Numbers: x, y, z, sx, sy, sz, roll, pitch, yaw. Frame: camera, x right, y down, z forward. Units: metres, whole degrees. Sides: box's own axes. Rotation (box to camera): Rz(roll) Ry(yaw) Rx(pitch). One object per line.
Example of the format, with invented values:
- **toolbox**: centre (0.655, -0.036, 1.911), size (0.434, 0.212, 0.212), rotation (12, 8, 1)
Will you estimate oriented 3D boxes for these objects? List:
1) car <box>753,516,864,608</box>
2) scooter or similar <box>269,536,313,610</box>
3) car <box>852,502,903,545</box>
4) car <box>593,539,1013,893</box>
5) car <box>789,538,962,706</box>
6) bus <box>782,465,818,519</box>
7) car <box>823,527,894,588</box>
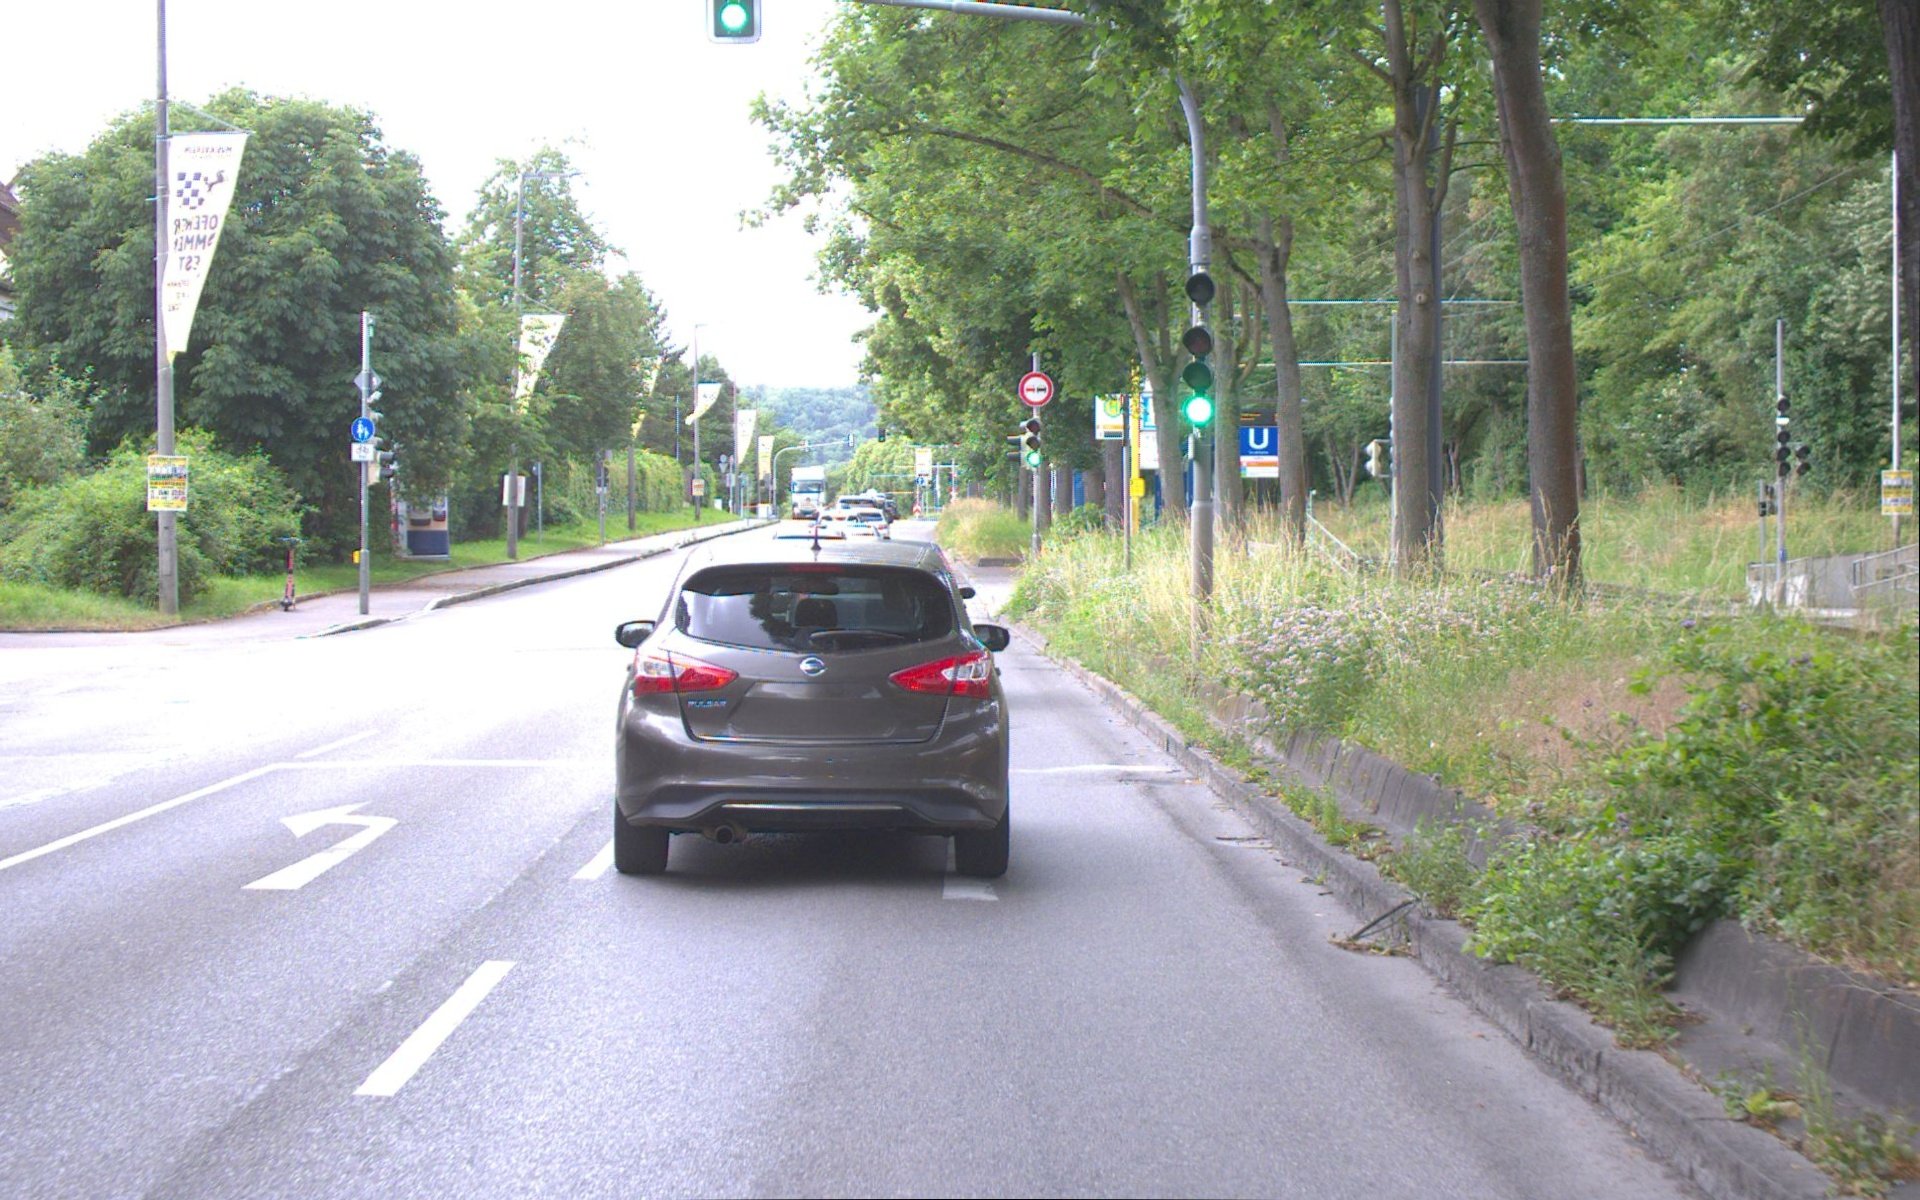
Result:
- **car**: centre (-2.417, -0.633, 55.505), size (1.691, 1.436, 3.542), rotation (0, 1, -1)
- **scooter or similar**: centre (-11.556, -0.478, 59.411), size (0.462, 1.254, 1.426), rotation (0, 1, 0)
- **car**: centre (-2.803, -2.600, 117.058), size (1.691, 1.436, 3.542), rotation (0, 1, -1)
- **car**: centre (-0.688, 0.463, 16.473), size (1.783, 1.501, 3.696), rotation (0, 1, -1)
- **car**: centre (-0.773, 0.157, 31.698), size (1.502, 1.436, 3.542), rotation (0, 1, -1)
- **bus**: centre (-12.188, -8.223, 262.474), size (2.487, 4.012, 10.218), rotation (0, 2, -1)
- **car**: centre (-2.466, -1.049, 83.852), size (1.691, 1.436, 3.542), rotation (0, 1, -1)
